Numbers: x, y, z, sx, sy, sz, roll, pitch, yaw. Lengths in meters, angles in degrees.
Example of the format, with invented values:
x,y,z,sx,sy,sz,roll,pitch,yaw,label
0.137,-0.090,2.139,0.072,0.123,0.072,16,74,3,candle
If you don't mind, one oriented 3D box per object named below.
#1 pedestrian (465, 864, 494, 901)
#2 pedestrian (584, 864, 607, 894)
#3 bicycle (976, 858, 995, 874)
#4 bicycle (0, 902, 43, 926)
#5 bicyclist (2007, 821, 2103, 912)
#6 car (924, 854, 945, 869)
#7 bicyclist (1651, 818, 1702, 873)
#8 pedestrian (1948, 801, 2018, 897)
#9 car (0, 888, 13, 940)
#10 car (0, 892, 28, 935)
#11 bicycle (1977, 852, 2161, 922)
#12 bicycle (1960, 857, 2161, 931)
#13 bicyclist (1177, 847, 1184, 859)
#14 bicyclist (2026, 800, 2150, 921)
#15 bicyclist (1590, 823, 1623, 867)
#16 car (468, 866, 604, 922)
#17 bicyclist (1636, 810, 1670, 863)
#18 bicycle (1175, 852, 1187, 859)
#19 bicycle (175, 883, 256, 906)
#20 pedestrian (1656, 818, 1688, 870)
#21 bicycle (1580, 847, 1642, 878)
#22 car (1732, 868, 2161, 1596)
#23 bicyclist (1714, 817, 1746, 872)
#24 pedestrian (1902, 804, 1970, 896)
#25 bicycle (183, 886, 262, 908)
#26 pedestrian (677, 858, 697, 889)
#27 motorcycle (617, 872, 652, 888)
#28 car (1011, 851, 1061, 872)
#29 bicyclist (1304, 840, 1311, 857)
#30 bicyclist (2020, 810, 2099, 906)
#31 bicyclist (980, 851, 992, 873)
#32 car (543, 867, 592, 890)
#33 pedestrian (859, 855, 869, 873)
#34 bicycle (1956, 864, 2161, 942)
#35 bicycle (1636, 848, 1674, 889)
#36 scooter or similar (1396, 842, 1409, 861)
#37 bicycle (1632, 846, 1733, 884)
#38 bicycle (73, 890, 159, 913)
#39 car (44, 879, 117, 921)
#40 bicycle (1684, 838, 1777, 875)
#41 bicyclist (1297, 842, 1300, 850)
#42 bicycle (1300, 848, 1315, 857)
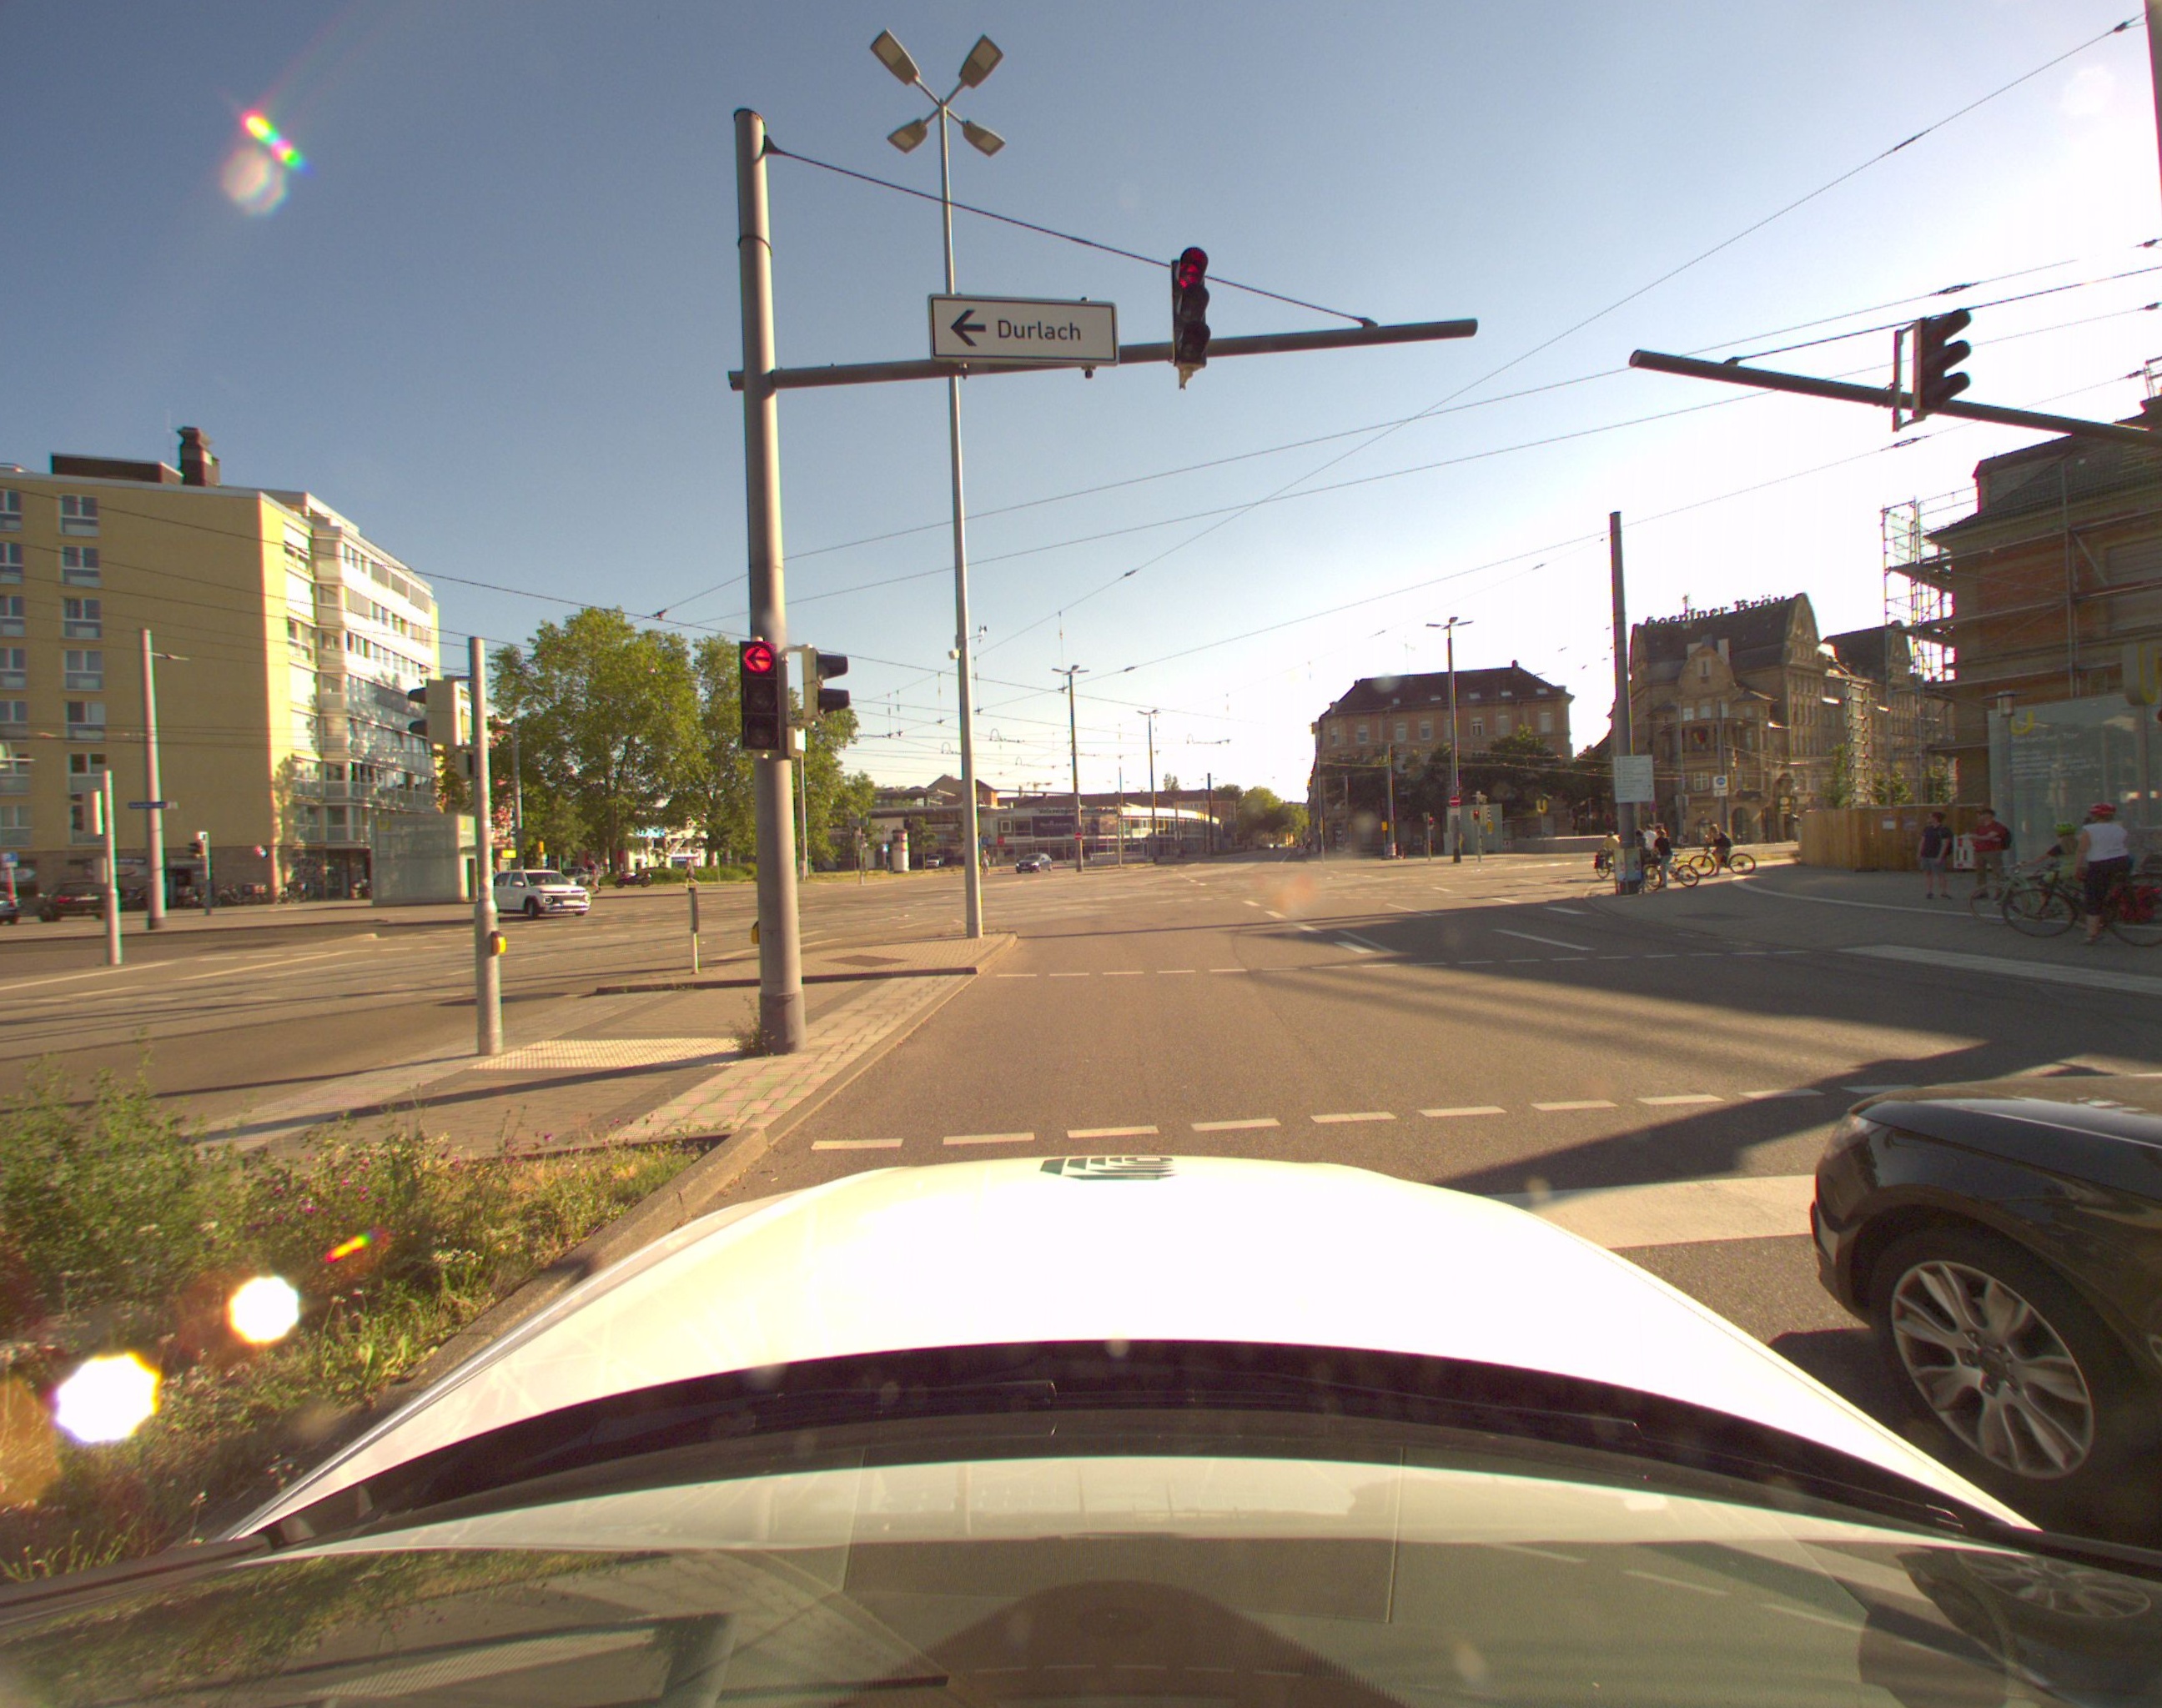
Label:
x,y,z,sx,sy,sz,roll,pitch,yaw,label
-28.364,1.344,38.410,0.790,1.706,0.760,-1,-1,9,pedestrian
-27.079,1.390,45.464,0.790,1.706,0.760,-1,-1,9,pedestrian
-7.022,0.891,60.007,0.607,1.189,1.878,-1,-1,19,bicycle
-54.571,3.044,40.995,3.041,1.151,0.637,0,-1,-16,bicycle
14.428,0.179,12.079,0.614,1.315,0.673,0,-1,-3,bicyclist
-17.992,0.914,100.024,1.988,1.750,3.997,0,-1,-1,car
17.137,-0.230,23.432,0.711,1.557,0.940,0,-1,-22,bicyclist
17.539,-0.091,15.847,0.672,1.807,0.680,0,-1,-19,pedestrian
-36.561,1.942,24.690,4.731,1.662,1.770,0,-1,-27,car
-47.020,2.566,34.946,3.948,1.706,2.013,-1,-1,35,car
15.486,0.482,12.622,0.661,0.963,2.018,-4,1,-25,bicycle
14.445,0.549,12.010,0.657,0.963,2.033,-4,0,-3,bicycle
13.589,-0.165,111.398,0.647,1.572,0.928,-1,-1,31,bicyclist
13.484,0.083,10.926,0.664,1.553,0.794,0,-1,-3,bicyclist
19.163,-0.313,29.693,0.514,1.557,0.945,0,-1,-6,bicyclist
-17.579,1.245,26.255,3.951,1.662,1.796,-1,-1,24,car
16.002,-0.481,22.793,0.701,1.439,0.953,-1,-1,31,bicyclist
13.711,0.180,111.564,0.632,0.870,2.249,-1,-1,32,bicycle
-46.277,2.160,43.571,3.041,1.151,0.637,0,-1,-16,bicycle
22.028,-0.369,30.345,0.646,1.922,0.689,0,-1,-6,pedestrian
19.180,0.287,29.531,0.533,1.049,2.315,0,1,-6,bicycle
2.887,0.736,0.655,1.617,1.404,4.001,0,0,2,car
21.275,-0.303,26.712,0.785,1.779,0.526,-1,-1,37,bicyclist
17.337,-0.084,16.525,0.672,1.807,0.680,-3,0,-19,pedestrian
-46.588,2.324,44.232,3.041,1.151,0.637,0,-1,-16,bicycle
-23.981,1.188,49.553,0.790,1.886,0.760,-1,-1,9,pedestrian
-27.264,1.582,49.768,1.779,0.914,0.675,0,-1,-19,motorcycle
-3.390,0.566,61.973,1.975,1.585,4.024,-1,-1,29,car
22.915,-0.523,82.364,0.519,1.700,0.513,0,-1,-15,bicyclist
15.386,0.066,12.811,0.619,1.454,0.667,0,-1,-27,bicyclist
-6.999,0.558,60.078,0.593,1.615,0.827,-1,-1,19,bicyclist
-37.306,1.726,59.251,1.772,1.567,3.983,0,-1,-12,car
-20.443,0.965,76.754,0.854,1.694,0.497,0,-1,-1,pedestrian
13.451,0.618,11.162,0.656,0.963,2.033,0,-1,-3,bicycle
15.983,0.382,22.719,0.692,1.049,2.335,0,1,31,bicycle
24.714,-0.178,62.641,0.780,1.376,1.916,-1,-1,16,scooter or similar
17.183,0.314,23.338,0.701,1.049,2.303,0,-1,-22,bicycle
-50.368,2.470,42.532,3.041,1.151,0.637,0,-1,-16,bicycle
-44.186,1.977,35.949,3.948,1.706,1.730,-1,-1,35,car
21.255,0.089,26.722,2.290,1.049,0.539,-5,-1,36,bicycle
32.497,-1.190,121.461,0.405,1.116,0.400,-1,-1,13,bicyclist
22.906,-0.137,82.362,0.658,0.952,1.591,0,-1,-15,bicycle
